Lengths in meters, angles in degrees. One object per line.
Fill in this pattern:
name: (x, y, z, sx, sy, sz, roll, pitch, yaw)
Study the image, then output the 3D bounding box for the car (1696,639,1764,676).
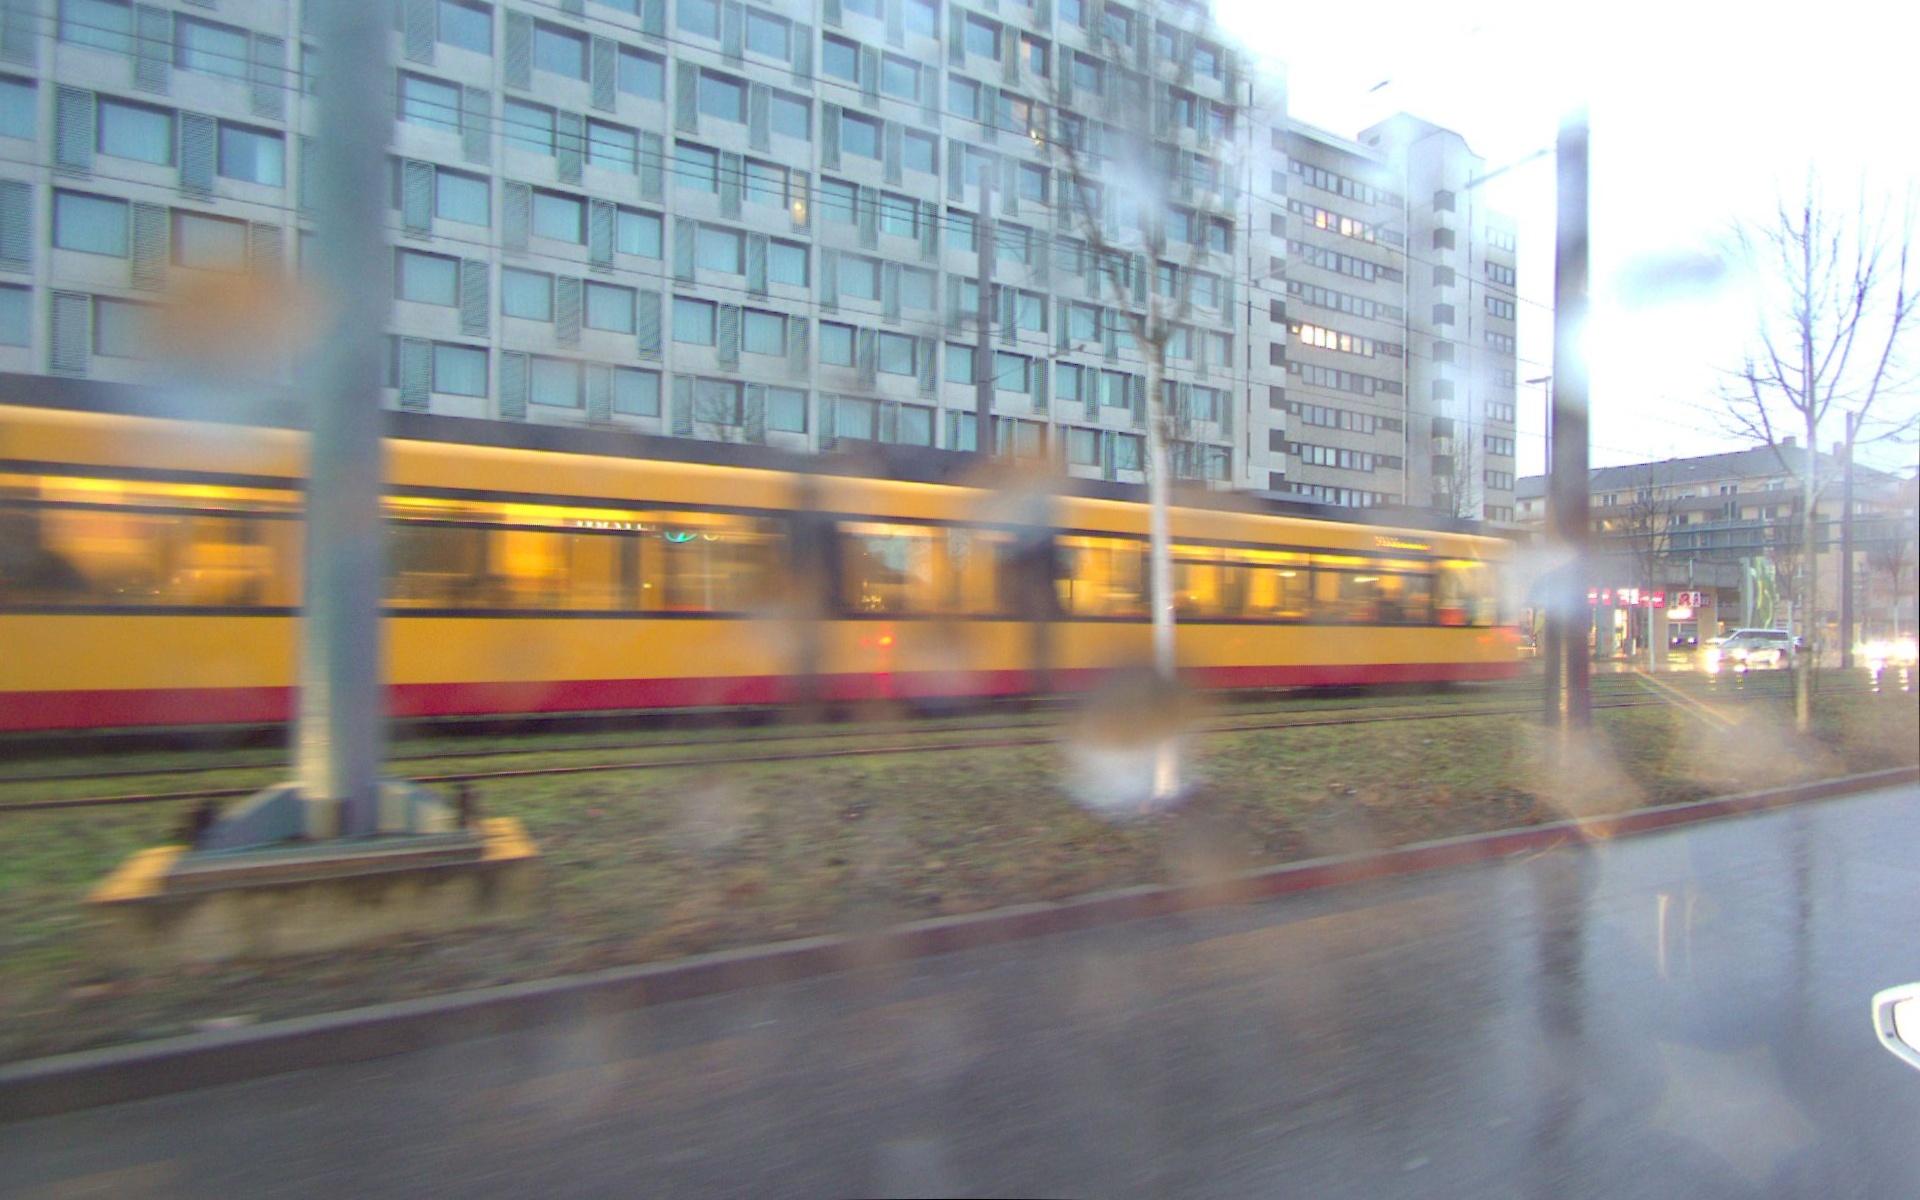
car: (41.787, 3.073, 54.480, 3.883, 1.910, 1.713, 1, -1, -33)

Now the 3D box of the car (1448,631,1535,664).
car: (27.946, 2.477, 52.962, 3.925, 1.405, 1.935, 3, 1, 26)

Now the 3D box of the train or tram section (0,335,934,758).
train or tram section: (-7.182, -0.391, 10.564, 14.149, 3.533, 2.943, 1, -1, -30)

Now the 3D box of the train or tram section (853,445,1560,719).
train or tram section: (5.169, -0.071, 17.770, 14.097, 3.533, 2.943, 1, -1, -30)

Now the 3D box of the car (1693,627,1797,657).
car: (52.413, 2.771, 67.172, 5.059, 1.937, 2.001, 0, -1, 16)

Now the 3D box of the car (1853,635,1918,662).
car: (51.946, 2.716, 56.364, 3.668, 1.450, 1.884, 1, -1, -34)

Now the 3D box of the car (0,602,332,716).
car: (-12.346, 0.830, 15.276, 1.973, 1.516, 4.422, 0, -1, 44)
